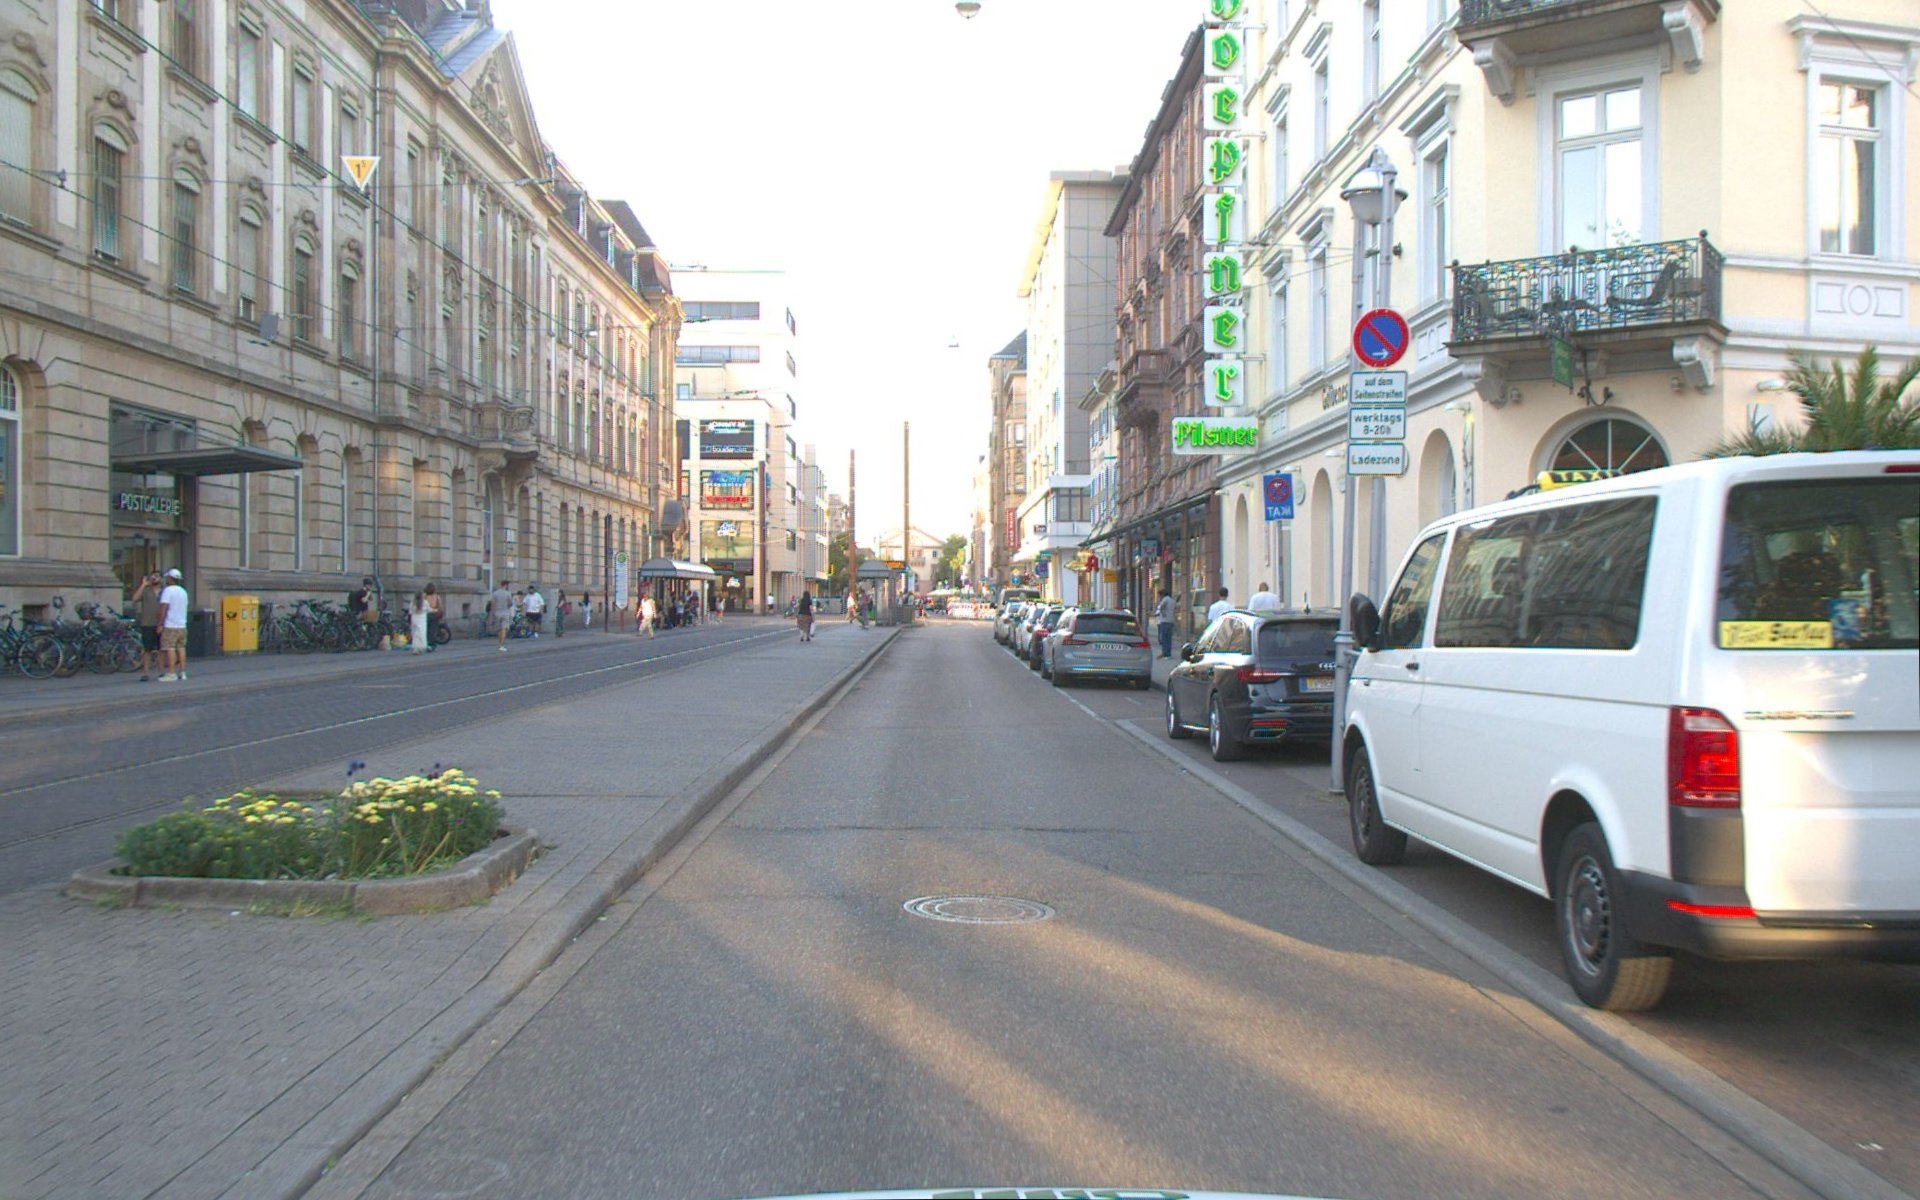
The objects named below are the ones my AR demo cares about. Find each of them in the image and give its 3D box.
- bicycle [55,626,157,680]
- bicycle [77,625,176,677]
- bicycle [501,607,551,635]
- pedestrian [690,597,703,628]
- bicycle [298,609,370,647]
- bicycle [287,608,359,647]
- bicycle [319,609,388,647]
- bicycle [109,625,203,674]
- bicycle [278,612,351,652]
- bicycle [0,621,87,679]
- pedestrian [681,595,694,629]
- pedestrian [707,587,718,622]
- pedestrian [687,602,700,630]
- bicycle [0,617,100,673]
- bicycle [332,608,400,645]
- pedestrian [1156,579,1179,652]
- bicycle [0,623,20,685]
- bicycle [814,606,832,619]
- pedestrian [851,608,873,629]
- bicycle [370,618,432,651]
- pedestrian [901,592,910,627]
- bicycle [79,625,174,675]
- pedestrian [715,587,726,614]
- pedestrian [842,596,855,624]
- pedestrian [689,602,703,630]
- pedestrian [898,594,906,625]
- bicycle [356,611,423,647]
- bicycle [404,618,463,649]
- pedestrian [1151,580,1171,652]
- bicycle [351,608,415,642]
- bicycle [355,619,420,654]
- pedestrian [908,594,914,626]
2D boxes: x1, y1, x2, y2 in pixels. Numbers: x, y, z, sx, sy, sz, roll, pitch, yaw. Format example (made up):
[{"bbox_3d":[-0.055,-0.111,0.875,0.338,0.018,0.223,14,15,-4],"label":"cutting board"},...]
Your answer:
[{"bbox_3d":[-14.805,0.911,28.687,1.542,0.889,0.451,1,-1,4],"label":"bicycle"},{"bbox_3d":[-14.945,0.919,29.678,1.542,0.889,0.451,1,-1,4],"label":"bicycle"},{"bbox_3d":[-14.586,0.703,55.649,1.542,0.889,0.451,1,-1,4],"label":"bicycle"},{"bbox_3d":[-13.476,0.647,84.562,0.507,1.597,0.638,0,-1,2],"label":"pedestrian"},{"bbox_3d":[-15.171,0.679,40.092,1.542,0.889,0.451,1,-1,4],"label":"bicycle"},{"bbox_3d":[-15.221,0.653,39.552,1.542,0.889,0.451,1,-1,4],"label":"bicycle"},{"bbox_3d":[-15.119,0.694,41.235,1.542,0.889,0.451,1,-1,4],"label":"bicycle"},{"bbox_3d":[-15.214,0.931,31.302,1.542,0.889,0.451,1,-1,4],"label":"bicycle"},{"bbox_3d":[-15.182,0.751,38.904,1.542,0.889,0.451,1,-1,4],"label":"bicycle"},{"bbox_3d":[-14.912,0.797,26.551,1.542,0.889,0.451,1,-1,4],"label":"bicycle"},{"bbox_3d":[-13.803,0.615,83.788,0.507,1.674,0.638,0,-1,2],"label":"pedestrian"},{"bbox_3d":[-13.109,0.234,87.657,0.548,1.807,0.468,0,0,-5],"label":"pedestrian"},{"bbox_3d":[-12.855,0.755,79.874,0.507,1.350,0.638,0,-1,2],"label":"pedestrian"},{"bbox_3d":[-15.097,0.736,27.329,1.542,0.889,0.451,1,-1,4],"label":"bicycle"},{"bbox_3d":[-15.023,0.676,41.873,1.542,0.889,0.451,1,-1,4],"label":"bicycle"},{"bbox_3d":[5.160,0.377,41.156,0.365,1.799,0.663,-2,0,-5],"label":"pedestrian"},{"bbox_3d":[-14.733,0.777,24.338,1.542,0.889,0.451,1,-1,4],"label":"bicycle"},{"bbox_3d":[-12.673,1.130,153.130,1.661,1.141,0.451,1,-1,1],"label":"bicycle"},{"bbox_3d":[-4.477,0.842,75.694,0.781,0.955,0.693,0,0,22],"label":"pedestrian"},{"bbox_3d":[-15.590,0.952,46.133,1.542,0.889,0.451,1,-1,4],"label":"bicycle"},{"bbox_3d":[-2.880,0.512,87.230,0.404,1.798,0.594,1,-1,-3],"label":"pedestrian"},{"bbox_3d":[-15.405,0.919,30.579,1.542,0.889,0.451,1,-1,4],"label":"bicycle"},{"bbox_3d":[-14.008,0.048,96.684,0.520,1.552,0.497,1,0,-31],"label":"pedestrian"},{"bbox_3d":[-7.626,0.686,112.801,0.684,1.847,0.853,1,-1,8],"label":"pedestrian"},{"bbox_3d":[-12.870,0.763,80.642,0.507,1.350,0.638,0,-1,2],"label":"pedestrian"},{"bbox_3d":[-3.153,0.526,90.235,0.378,1.671,0.549,1,-1,-3],"label":"pedestrian"},{"bbox_3d":[-14.699,0.758,42.641,1.542,0.889,0.451,1,-1,4],"label":"bicycle"},{"bbox_3d":[-15.285,0.970,48.012,1.542,0.889,0.451,1,-1,4],"label":"bicycle"},{"bbox_3d":[5.068,0.398,41.663,0.365,1.799,0.455,-2,0,-5],"label":"pedestrian"},{"bbox_3d":[-15.518,0.665,44.515,1.542,0.889,0.451,1,-1,4],"label":"bicycle"},{"bbox_3d":[-15.011,0.954,43.370,1.542,0.889,0.451,1,-1,4],"label":"bicycle"},{"bbox_3d":[-2.753,0.565,93.065,0.335,1.827,0.544,1,-1,-3],"label":"pedestrian"}]
